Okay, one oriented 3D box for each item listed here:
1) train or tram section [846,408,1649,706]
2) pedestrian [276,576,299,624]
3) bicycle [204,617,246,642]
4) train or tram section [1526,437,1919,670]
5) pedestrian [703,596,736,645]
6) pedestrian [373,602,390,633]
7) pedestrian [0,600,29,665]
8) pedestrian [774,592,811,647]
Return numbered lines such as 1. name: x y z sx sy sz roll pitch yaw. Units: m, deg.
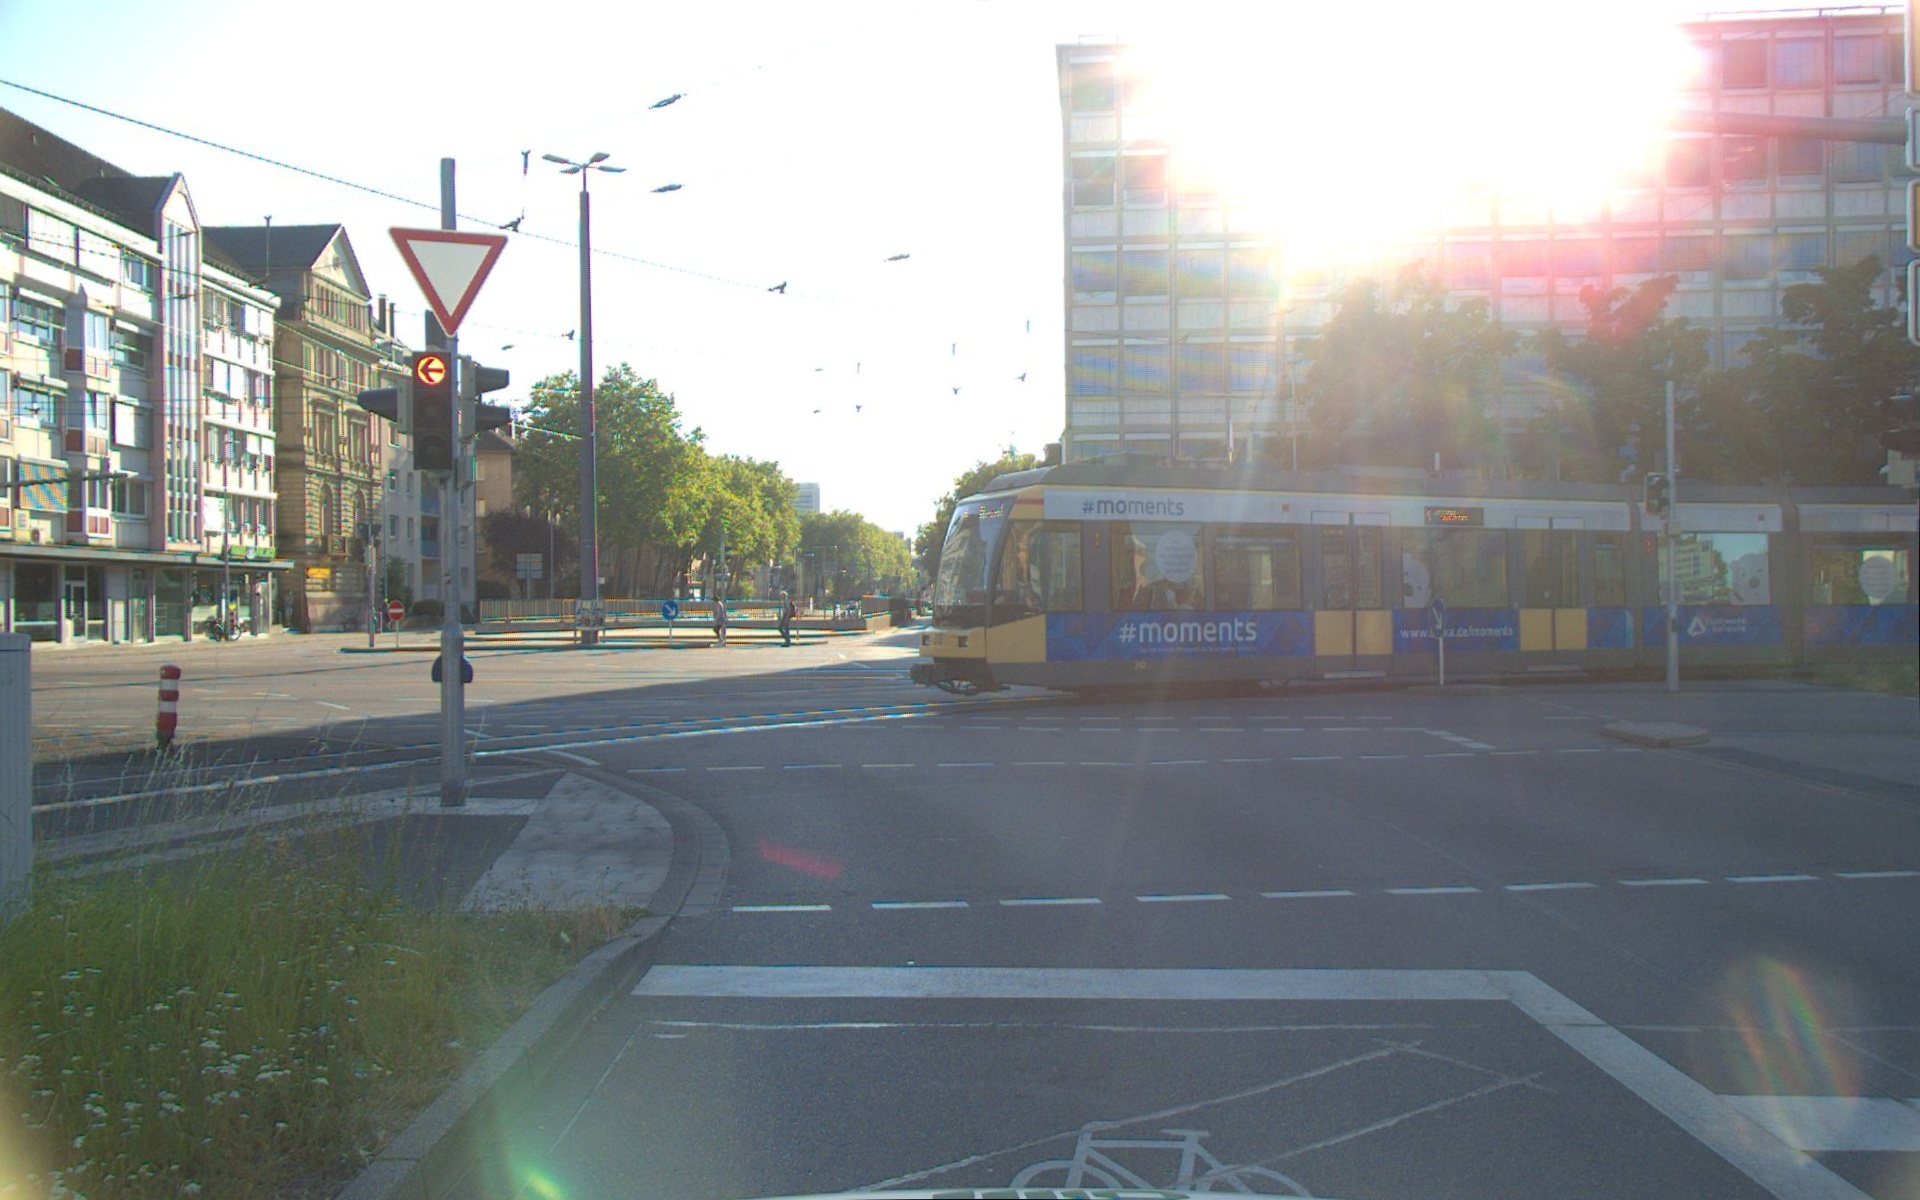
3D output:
1. train or tram section: 4.936 -0.590 26.378 13.163 3.901 3.682 0 0 -28
2. pedestrian: -34.585 0.004 85.048 0.910 2.440 0.958 1 -1 -11
3. bicycle: -32.439 1.306 73.018 0.441 1.089 2.093 1 0 16
4. train or tram section: 17.328 -0.731 30.560 12.691 3.901 3.710 1 0 -7
5. pedestrian: -7.592 0.663 52.179 0.844 1.491 0.679 1 -6 -30
6. pedestrian: -31.794 0.959 90.892 0.681 1.725 0.724 1 -1 -1
7. pedestrian: -30.056 1.012 51.858 1.171 1.913 0.857 1 9 -5
8. pedestrian: -5.465 0.636 54.092 1.171 1.761 0.855 1 -1 -5
